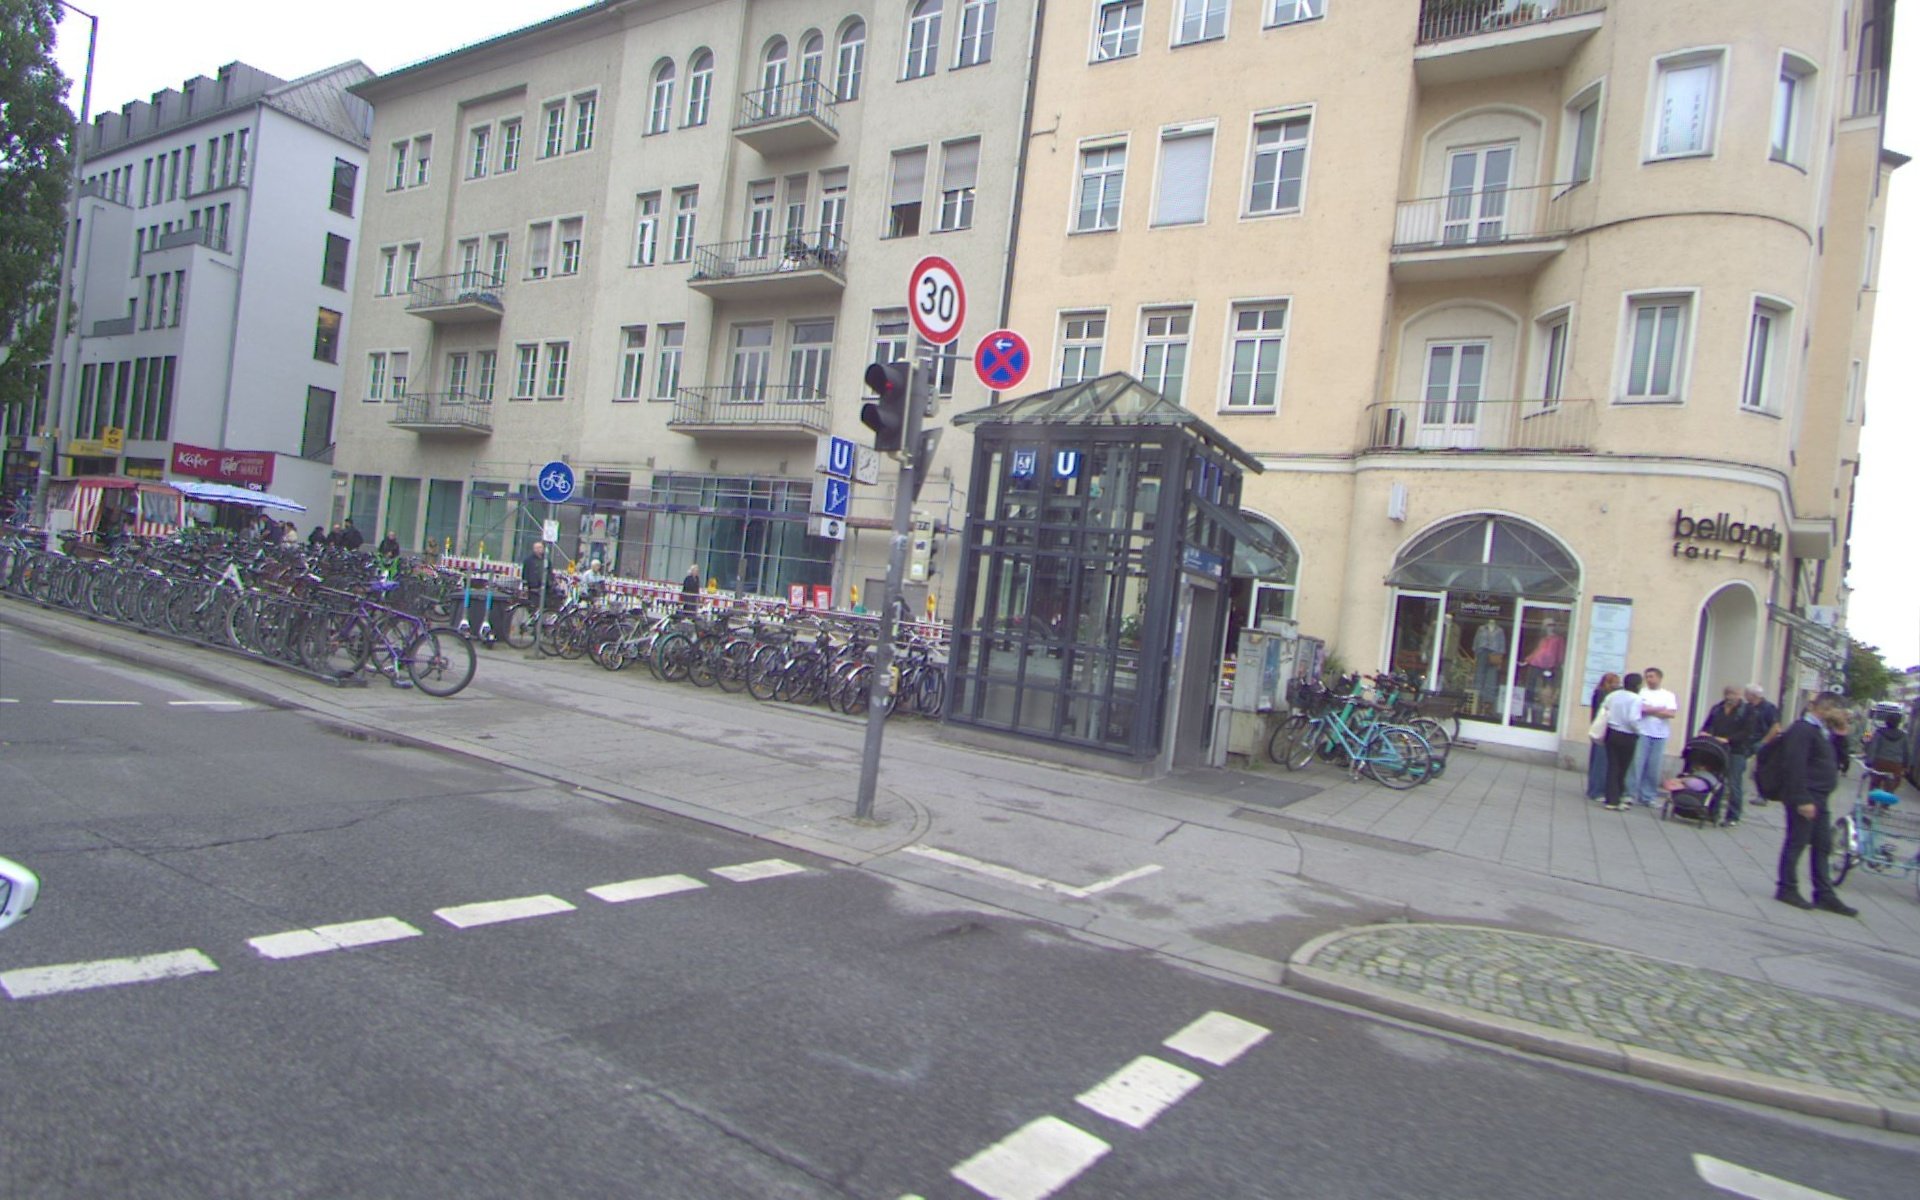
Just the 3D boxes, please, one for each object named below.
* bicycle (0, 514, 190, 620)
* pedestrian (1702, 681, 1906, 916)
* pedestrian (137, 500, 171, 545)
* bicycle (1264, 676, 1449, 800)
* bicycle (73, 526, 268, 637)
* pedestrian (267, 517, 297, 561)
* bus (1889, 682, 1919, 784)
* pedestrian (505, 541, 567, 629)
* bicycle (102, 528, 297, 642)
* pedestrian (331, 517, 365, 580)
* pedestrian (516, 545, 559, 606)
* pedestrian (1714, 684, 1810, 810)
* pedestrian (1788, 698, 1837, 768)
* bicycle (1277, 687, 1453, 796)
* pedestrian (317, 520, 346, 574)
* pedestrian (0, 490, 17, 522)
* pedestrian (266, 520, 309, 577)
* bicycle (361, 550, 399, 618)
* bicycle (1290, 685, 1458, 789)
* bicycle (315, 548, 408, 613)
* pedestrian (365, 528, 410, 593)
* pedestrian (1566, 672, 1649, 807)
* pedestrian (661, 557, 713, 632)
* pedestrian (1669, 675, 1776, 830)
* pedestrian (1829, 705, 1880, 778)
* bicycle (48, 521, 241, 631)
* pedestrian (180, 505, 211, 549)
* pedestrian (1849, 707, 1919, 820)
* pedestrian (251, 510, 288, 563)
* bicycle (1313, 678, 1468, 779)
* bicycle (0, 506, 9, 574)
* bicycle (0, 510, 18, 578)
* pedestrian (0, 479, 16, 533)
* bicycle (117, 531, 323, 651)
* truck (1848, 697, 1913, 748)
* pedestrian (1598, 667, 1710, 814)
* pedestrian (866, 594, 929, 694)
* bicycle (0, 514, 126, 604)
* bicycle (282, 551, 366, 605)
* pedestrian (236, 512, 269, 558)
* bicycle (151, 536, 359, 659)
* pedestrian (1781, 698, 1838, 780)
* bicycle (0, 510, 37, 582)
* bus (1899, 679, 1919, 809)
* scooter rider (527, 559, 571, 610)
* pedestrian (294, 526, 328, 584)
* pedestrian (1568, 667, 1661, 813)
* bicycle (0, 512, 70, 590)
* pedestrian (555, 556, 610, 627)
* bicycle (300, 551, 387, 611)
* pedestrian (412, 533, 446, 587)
[{"bbox_3d":[-11.660,-0.428,13.605,1.781,1.172,0.648,7,1,-23],"label":"bicycle"},{"bbox_3d":[6.843,1.589,8.182,0.825,1.712,0.815,6,1,-21],"label":"pedestrian"},{"bbox_3d":[-31.406,-3.033,39.196,0.729,1.622,0.733,7,1,32],"label":"pedestrian"},{"bbox_3d":[4.630,1.579,11.811,1.835,1.121,0.567,7,1,32],"label":"bicycle"},{"bbox_3d":[-9.891,-0.217,12.686,1.785,1.172,0.483,7,1,-30],"label":"bicycle"},{"bbox_3d":[-23.002,-2.066,34.131,0.570,1.420,0.575,7,1,32],"label":"pedestrian"},{"bbox_3d":[32.607,4.512,32.867,2.776,3.004,9.537,9,1,42],"label":"bus"},{"bbox_3d":[-9.006,-0.312,21.375,0.747,1.750,0.811,8,2,39],"label":"pedestrian"},{"bbox_3d":[-9.306,-0.166,12.400,1.787,1.172,0.483,7,1,-33],"label":"bicycle"},{"bbox_3d":[-17.265,-1.447,28.393,0.594,1.690,0.682,6,1,-23],"label":"pedestrian"},{"bbox_3d":[-11.847,-0.674,28.194,0.775,1.588,0.649,7,1,33],"label":"pedestrian"},{"bbox_3d":[12.059,2.196,15.133,0.677,1.727,0.738,7,4,-38],"label":"pedestrian"},{"bbox_3d":[23.235,3.608,27.421,0.736,1.748,0.722,12,4,41],"label":"pedestrian"},{"bbox_3d":[4.893,1.680,12.220,1.835,0.987,0.495,7,1,32],"label":"bicycle"},{"bbox_3d":[-18.115,-1.520,29.004,0.501,1.503,0.462,6,1,-23],"label":"pedestrian"},{"bbox_3d":[-42.357,-4.167,44.565,0.665,1.322,0.639,7,1,32],"label":"pedestrian"},{"bbox_3d":[-19.413,-1.479,29.059,0.801,1.541,0.795,6,1,-25],"label":"pedestrian"},{"bbox_3d":[-10.593,-0.315,18.400,0.364,1.156,1.712,6,1,-25],"label":"bicycle"},{"bbox_3d":[5.244,1.712,12.800,1.835,0.987,0.495,7,1,32],"label":"bicycle"},{"bbox_3d":[-11.363,-0.349,19.133,0.363,1.091,1.419,7,1,33],"label":"bicycle"},{"bbox_3d":[-16.512,-1.140,29.039,0.746,1.750,0.742,7,2,32],"label":"pedestrian"},{"bbox_3d":[8.410,1.798,13.065,0.559,1.631,0.560,6,4,-45],"label":"pedestrian"},{"bbox_3d":[-6.515,-0.130,24.043,0.745,1.672,0.751,7,2,30],"label":"pedestrian"},{"bbox_3d":[9.438,1.884,12.457,0.645,1.774,0.630,7,4,-36],"label":"pedestrian"},{"bbox_3d":[23.468,3.695,26.412,0.736,1.748,0.722,12,4,41],"label":"pedestrian"},{"bbox_3d":[-10.463,-0.290,12.978,1.784,1.172,0.483,7,1,-28],"label":"bicycle"},{"bbox_3d":[-26.993,-2.579,35.538,0.570,1.420,0.599,7,1,32],"label":"pedestrian"},{"bbox_3d":[15.416,2.687,16.695,0.736,1.707,0.679,12,4,41],"label":"pedestrian"},{"bbox_3d":[-20.484,-1.878,29.833,0.648,1.443,0.615,7,1,37],"label":"pedestrian"},{"bbox_3d":[5.931,1.749,13.906,1.834,1.072,0.495,7,1,28],"label":"bicycle"},{"bbox_3d":[-17.458,-1.140,17.048,1.810,1.182,0.584,7,1,-16],"label":"bicycle"},{"bbox_3d":[-16.923,-1.045,16.686,1.777,1.125,0.489,7,1,-16],"label":"bicycle"},{"bbox_3d":[-32.457,-3.195,33.808,0.751,1.749,0.791,7,1,32],"label":"pedestrian"},{"bbox_3d":[-8.689,-0.098,11.888,1.780,1.172,0.545,7,1,-21],"label":"bicycle"},{"bbox_3d":[86.950,11.513,95.275,2.870,3.962,18.828,7,0,39],"label":"truck"},{"bbox_3d":[9.061,1.821,13.166,0.720,1.727,0.645,9,3,2],"label":"pedestrian"},{"bbox_3d":[-1.121,0.796,18.102,0.710,1.692,0.657,8,2,33],"label":"pedestrian"},{"bbox_3d":[-13.409,-0.618,14.615,1.780,1.125,0.649,7,1,-22],"label":"bicycle"},{"bbox_3d":[-12.397,-0.417,19.631,0.363,0.926,1.294,7,0,33],"label":"bicycle"},{"bbox_3d":[-23.483,-2.154,33.386,0.570,1.420,0.599,7,1,32],"label":"pedestrian"},{"bbox_3d":[-8.078,-0.020,11.609,1.780,1.172,0.545,7,1,-21],"label":"bicycle"},{"bbox_3d":[19.474,3.174,23.068,0.736,1.707,0.722,12,4,41],"label":"pedestrian"},{"bbox_3d":[-16.344,-0.973,16.386,1.777,1.125,0.584,7,1,-16],"label":"bicycle"},{"bbox_3d":[24.998,3.508,24.257,2.776,3.004,13.537,9,1,42],"label":"bus"},{"bbox_3d":[-10.808,-0.394,26.430,0.707,1.235,0.686,7,2,30],"label":"scooter rider"},{"bbox_3d":[-18.121,-1.262,28.096,0.574,1.523,0.612,6,1,-27],"label":"pedestrian"},{"bbox_3d":[8.112,1.727,12.474,0.562,1.693,0.556,7,4,-36],"label":"pedestrian"},{"bbox_3d":[-15.147,-0.827,15.667,1.778,1.125,0.560,7,1,-17],"label":"bicycle"},{"bbox_3d":[-8.750,-0.189,23.312,0.745,1.537,0.778,7,2,30],"label":"pedestrian"},{"bbox_3d":[-11.831,-0.355,19.327,0.363,1.012,1.315,7,1,33],"label":"bicycle"},{"bbox_3d":[-17.337,-1.311,32.865,0.553,1.665,0.641,7,1,32],"label":"pedestrian"}]
